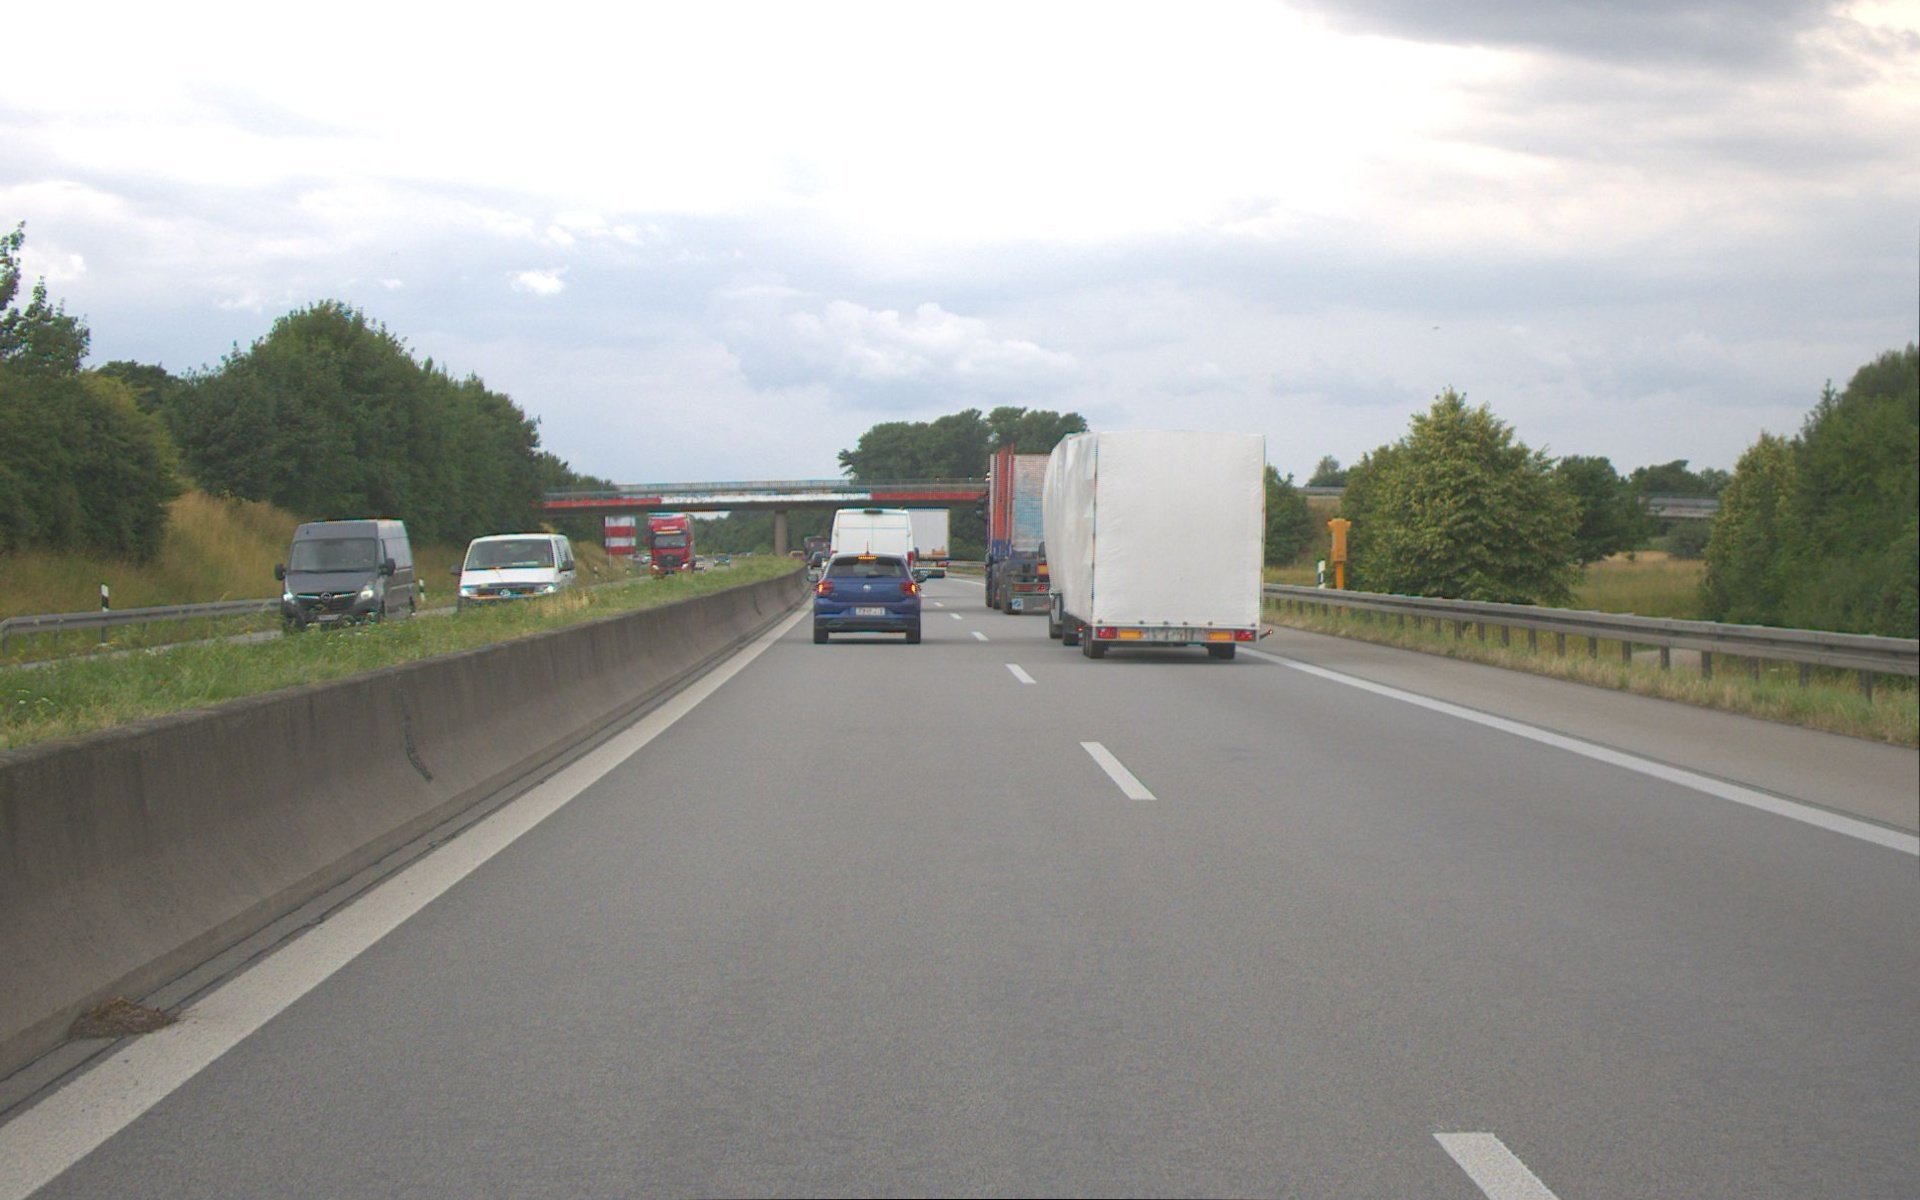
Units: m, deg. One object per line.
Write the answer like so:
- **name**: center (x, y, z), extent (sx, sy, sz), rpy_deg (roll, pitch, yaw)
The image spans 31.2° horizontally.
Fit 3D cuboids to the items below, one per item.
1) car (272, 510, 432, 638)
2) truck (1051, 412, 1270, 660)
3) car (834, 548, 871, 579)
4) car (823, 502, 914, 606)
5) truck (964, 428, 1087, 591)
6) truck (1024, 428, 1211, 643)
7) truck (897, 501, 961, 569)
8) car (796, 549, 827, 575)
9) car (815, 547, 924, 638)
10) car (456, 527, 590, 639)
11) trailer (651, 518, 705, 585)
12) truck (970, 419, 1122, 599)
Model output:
- **car**: center (-12.624, -0.563, 71.817), extent (2.169, 2.456, 6.724), rpy_deg (-2, 1, -1)
- **truck**: center (2.689, -0.877, 48.071), extent (2.415, 3.211, 7.144), rpy_deg (0, 1, -2)
- **car**: center (-5.936, -2.013, 189.638), extent (1.935, 1.638, 4.904), rpy_deg (0, 1, -2)
- **car**: center (-2.305, -1.139, 84.984), extent (2.130, 2.474, 5.840), rpy_deg (0, 1, -3)
- **truck**: center (1.642, -2.323, 88.736), extent (2.673, 4.032, 5.513), rpy_deg (-1, 1, -4)
- **truck**: center (2.439, -1.020, 55.261), extent (2.429, 3.232, 7.248), rpy_deg (0, 1, -2)
- **truck**: center (-1.830, -3.697, 196.416), extent (3.110, 3.677, 9.324), rpy_deg (-2, 1, -3)
- **car**: center (-9.617, -2.500, 223.196), extent (1.993, 1.678, 4.001), rpy_deg (0, 1, -3)
- **car**: center (-1.422, -0.143, 55.216), extent (1.663, 1.402, 3.648), rpy_deg (0, 1, 0)
- **car**: center (-8.129, -0.366, 64.349), extent (1.979, 2.007, 5.130), rpy_deg (0, 1, -1)
- **trailer**: center (-18.155, -3.188, 222.150), extent (2.706, 4.074, 14.599), rpy_deg (-2, 1, -2)
- **truck**: center (1.965, -2.197, 83.339), extent (2.673, 4.032, 11.109), rpy_deg (-1, 1, -4)
